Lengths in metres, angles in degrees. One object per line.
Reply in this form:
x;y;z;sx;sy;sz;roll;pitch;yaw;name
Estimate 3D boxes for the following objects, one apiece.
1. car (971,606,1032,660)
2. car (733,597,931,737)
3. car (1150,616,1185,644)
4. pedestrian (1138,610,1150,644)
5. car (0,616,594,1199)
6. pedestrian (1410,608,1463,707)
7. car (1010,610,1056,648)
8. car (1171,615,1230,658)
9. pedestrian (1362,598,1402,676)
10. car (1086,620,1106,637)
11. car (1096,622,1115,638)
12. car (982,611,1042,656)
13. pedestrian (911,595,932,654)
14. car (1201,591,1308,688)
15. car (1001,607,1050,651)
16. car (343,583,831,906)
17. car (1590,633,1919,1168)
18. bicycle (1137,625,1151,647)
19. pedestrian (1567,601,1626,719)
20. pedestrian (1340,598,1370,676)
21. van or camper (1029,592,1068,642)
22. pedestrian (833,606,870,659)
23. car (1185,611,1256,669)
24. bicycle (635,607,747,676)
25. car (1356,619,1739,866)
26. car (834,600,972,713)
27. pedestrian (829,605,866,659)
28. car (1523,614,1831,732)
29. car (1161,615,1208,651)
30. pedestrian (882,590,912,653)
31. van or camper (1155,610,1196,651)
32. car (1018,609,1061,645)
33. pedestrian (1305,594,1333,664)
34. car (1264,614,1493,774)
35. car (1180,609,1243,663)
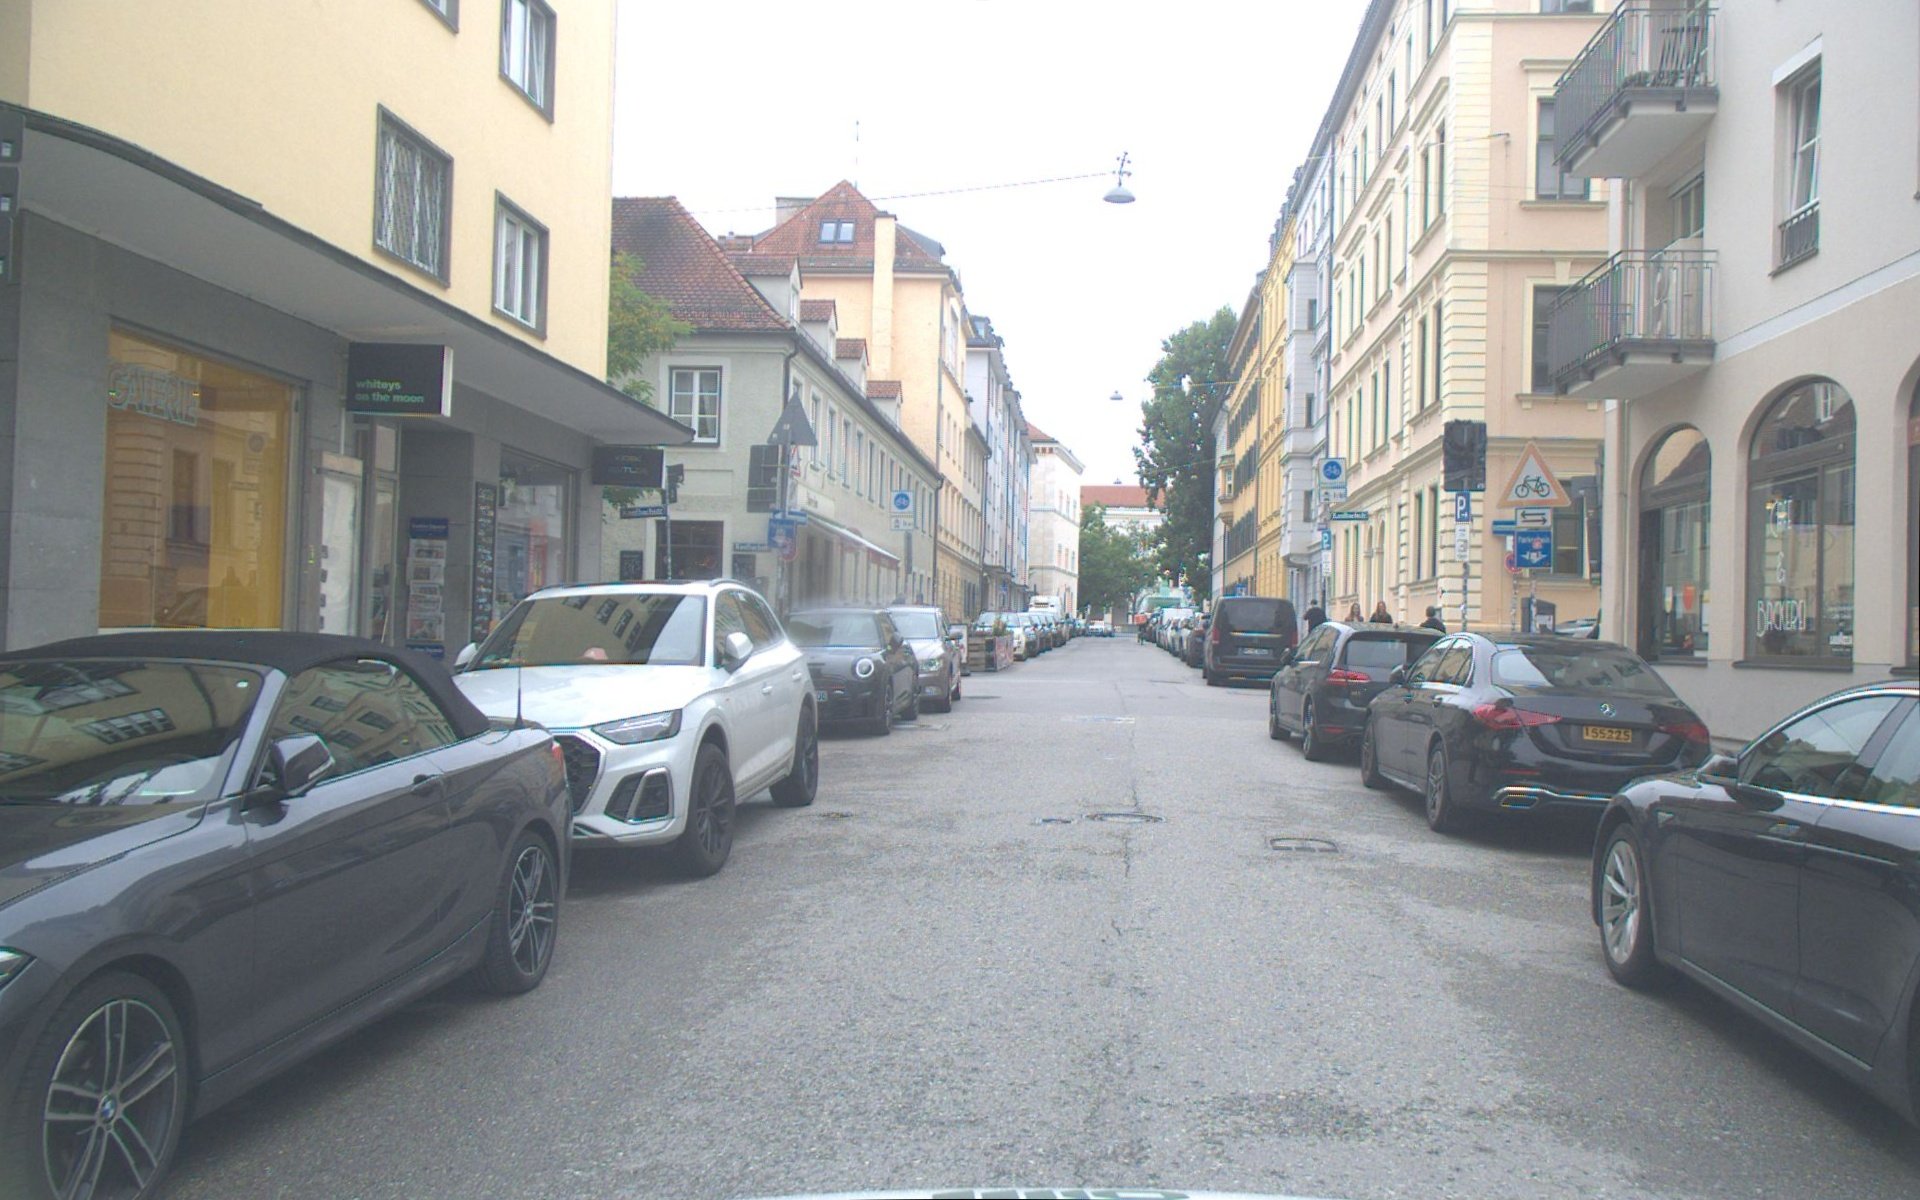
1.296;0.986;50.398;1.718;1.501;3.715;2;-1;2;car
-1.424;0.739;19.914;1.643;1.497;4.100;0;0;6;car
11.981;1.724;95.567;1.774;1.490;4.249;3;-1;5;car
9.574;1.413;86.043;0.628;1.744;0.843;1;-2;6;pedestrian
-2.615;0.782;5.125;1.708;1.435;4.100;0;0;5;car
8.668;1.047;30.122;0.704;1.747;1.004;1;-2;4;pedestrian
2.887;1.127;66.399;1.778;1.467;4.132;1;0;2;car
8.590;1.301;59.354;1.672;1.429;4.209;2;-1;3;car
9.092;0.804;35.656;0.645;1.649;0.980;1;-2;4;pedestrian
12.981;2.736;157.581;1.670;1.609;3.865;0;-1;8;car
14.372;2.974;163.611;1.670;1.609;3.865;0;-1;8;car
1.793;1.079;55.410;1.760;1.363;4.688;2;0;4;car
-1.222;0.784;52.174;0.517;1.813;0.878;1;-2;6;pedestrian
6.409;0.839;36.500;1.955;1.897;5.256;2;0;7;car
2.443;1.073;61.278;1.718;1.522;4.201;2;-1;3;car
-2.063;0.698;10.519;1.764;1.611;4.341;0;1;5;car
3.652;0.900;5.384;1.765;1.435;4.659;2;0;5;car
9.565;1.866;85.983;0.661;1.114;1.761;1;-2;6;bicycle
9.212;0.870;23.952;0.621;1.676;0.526;1;-2;-3;pedestrian
8.518;0.805;35.695;0.462;1.653;1.070;1;-2;4;pedestrian
4.411;0.869;81.772;1.718;2.321;5.275;2;-1;4;van or camper
-2.735;0.824;41.759;0.786;1.313;0.694;1;-2;5;pedestrian
7.457;1.131;47.599;1.717;1.548;4.277;2;-1;6;car
-4.573;0.703;28.143;1.779;1.053;0.392;3;0;8;bicycle
4.362;0.949;13.027;1.611;1.449;4.511;4;0;4;car
-0.746;0.779;24.571;1.644;1.497;4.952;0;0;3;car
-2.792;0.799;41.037;0.786;1.313;0.694;1;-2;5;pedestrian
11.056;1.102;25.713;4.002;1.633;1.756;1;1;4;car
9.700;1.430;71.707;1.672;1.480;4.098;2;-1;3;car
-1.954;0.675;51.717;0.805;1.931;0.828;1;-2;4;pedestrian
10.592;1.504;81.405;1.795;1.904;5.082;2;-1;6;van or camper
3.470;1.165;71.453;1.718;1.433;4.105;2;-1;4;car
10.623;0.867;48.995;0.655;2.015;0.709;-2;-2;6;pedestrian
4.554;0.954;18.583;1.641;1.449;4.205;4;0;3;car
8.033;1.142;53.050;1.706;1.611;4.469;2;-1;6;car
